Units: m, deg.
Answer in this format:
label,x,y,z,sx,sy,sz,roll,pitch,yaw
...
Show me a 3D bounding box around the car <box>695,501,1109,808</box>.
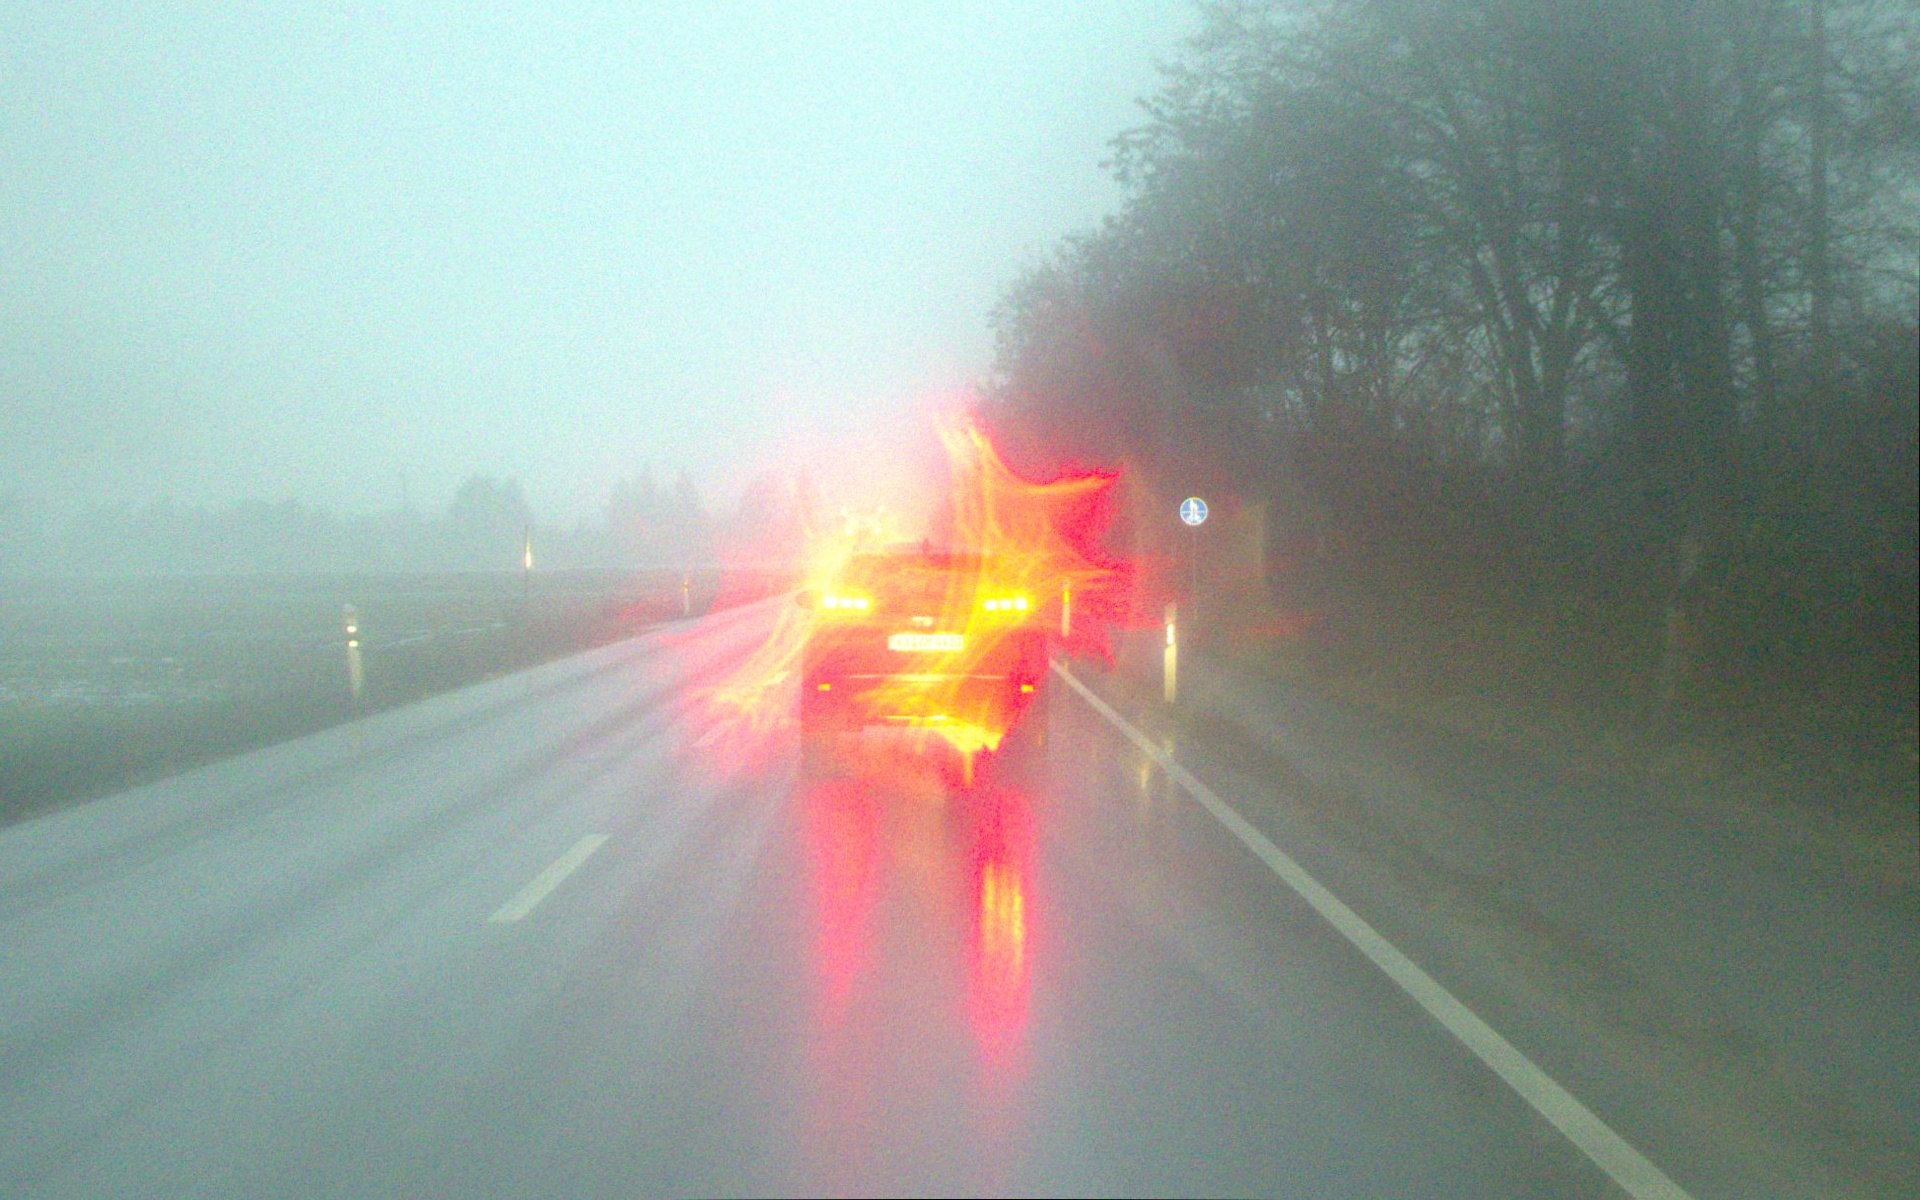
label,x,y,z,sx,sy,sz,roll,pitch,yaw
car,-0.402,0.345,26.548,2.820,2.070,5.804,1,1,0
